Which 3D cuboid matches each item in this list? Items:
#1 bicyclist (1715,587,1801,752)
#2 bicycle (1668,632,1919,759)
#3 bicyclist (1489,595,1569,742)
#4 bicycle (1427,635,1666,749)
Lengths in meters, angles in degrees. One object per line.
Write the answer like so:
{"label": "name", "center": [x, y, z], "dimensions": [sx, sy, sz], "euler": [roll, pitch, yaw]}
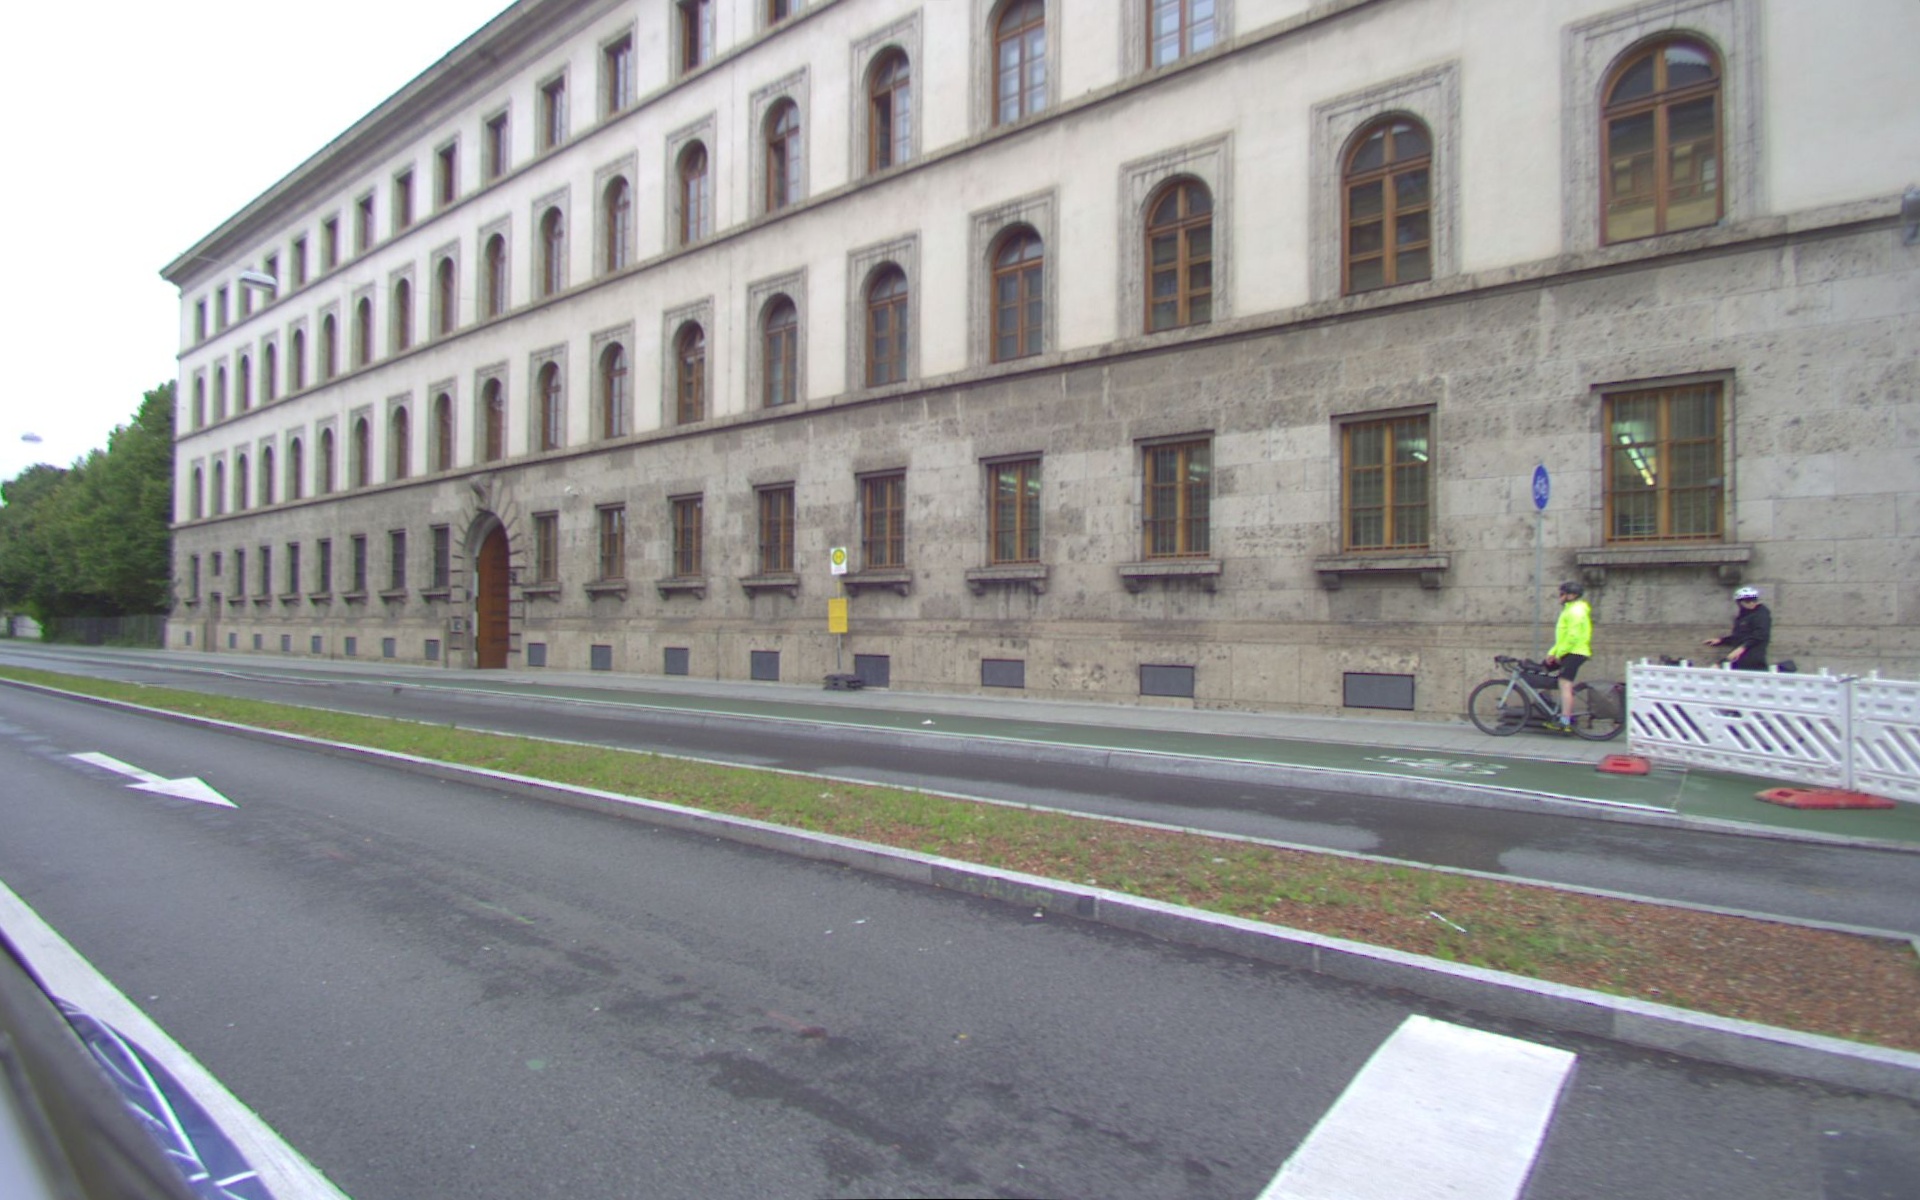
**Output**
{"label": "bicyclist", "center": [9.040, 0.754, 11.461], "dimensions": [0.689, 1.789, 0.789], "euler": [-1, -1, 43]}
{"label": "bicycle", "center": [9.269, 1.000, 11.249], "dimensions": [2.199, 1.252, 0.778], "euler": [-1, -1, 43]}
{"label": "bicyclist", "center": [7.144, 0.825, 12.704], "dimensions": [0.689, 1.762, 0.789], "euler": [-1, -1, 43]}
{"label": "bicycle", "center": [7.241, 1.078, 12.607], "dimensions": [2.449, 1.252, 0.778], "euler": [-1, -1, 43]}
